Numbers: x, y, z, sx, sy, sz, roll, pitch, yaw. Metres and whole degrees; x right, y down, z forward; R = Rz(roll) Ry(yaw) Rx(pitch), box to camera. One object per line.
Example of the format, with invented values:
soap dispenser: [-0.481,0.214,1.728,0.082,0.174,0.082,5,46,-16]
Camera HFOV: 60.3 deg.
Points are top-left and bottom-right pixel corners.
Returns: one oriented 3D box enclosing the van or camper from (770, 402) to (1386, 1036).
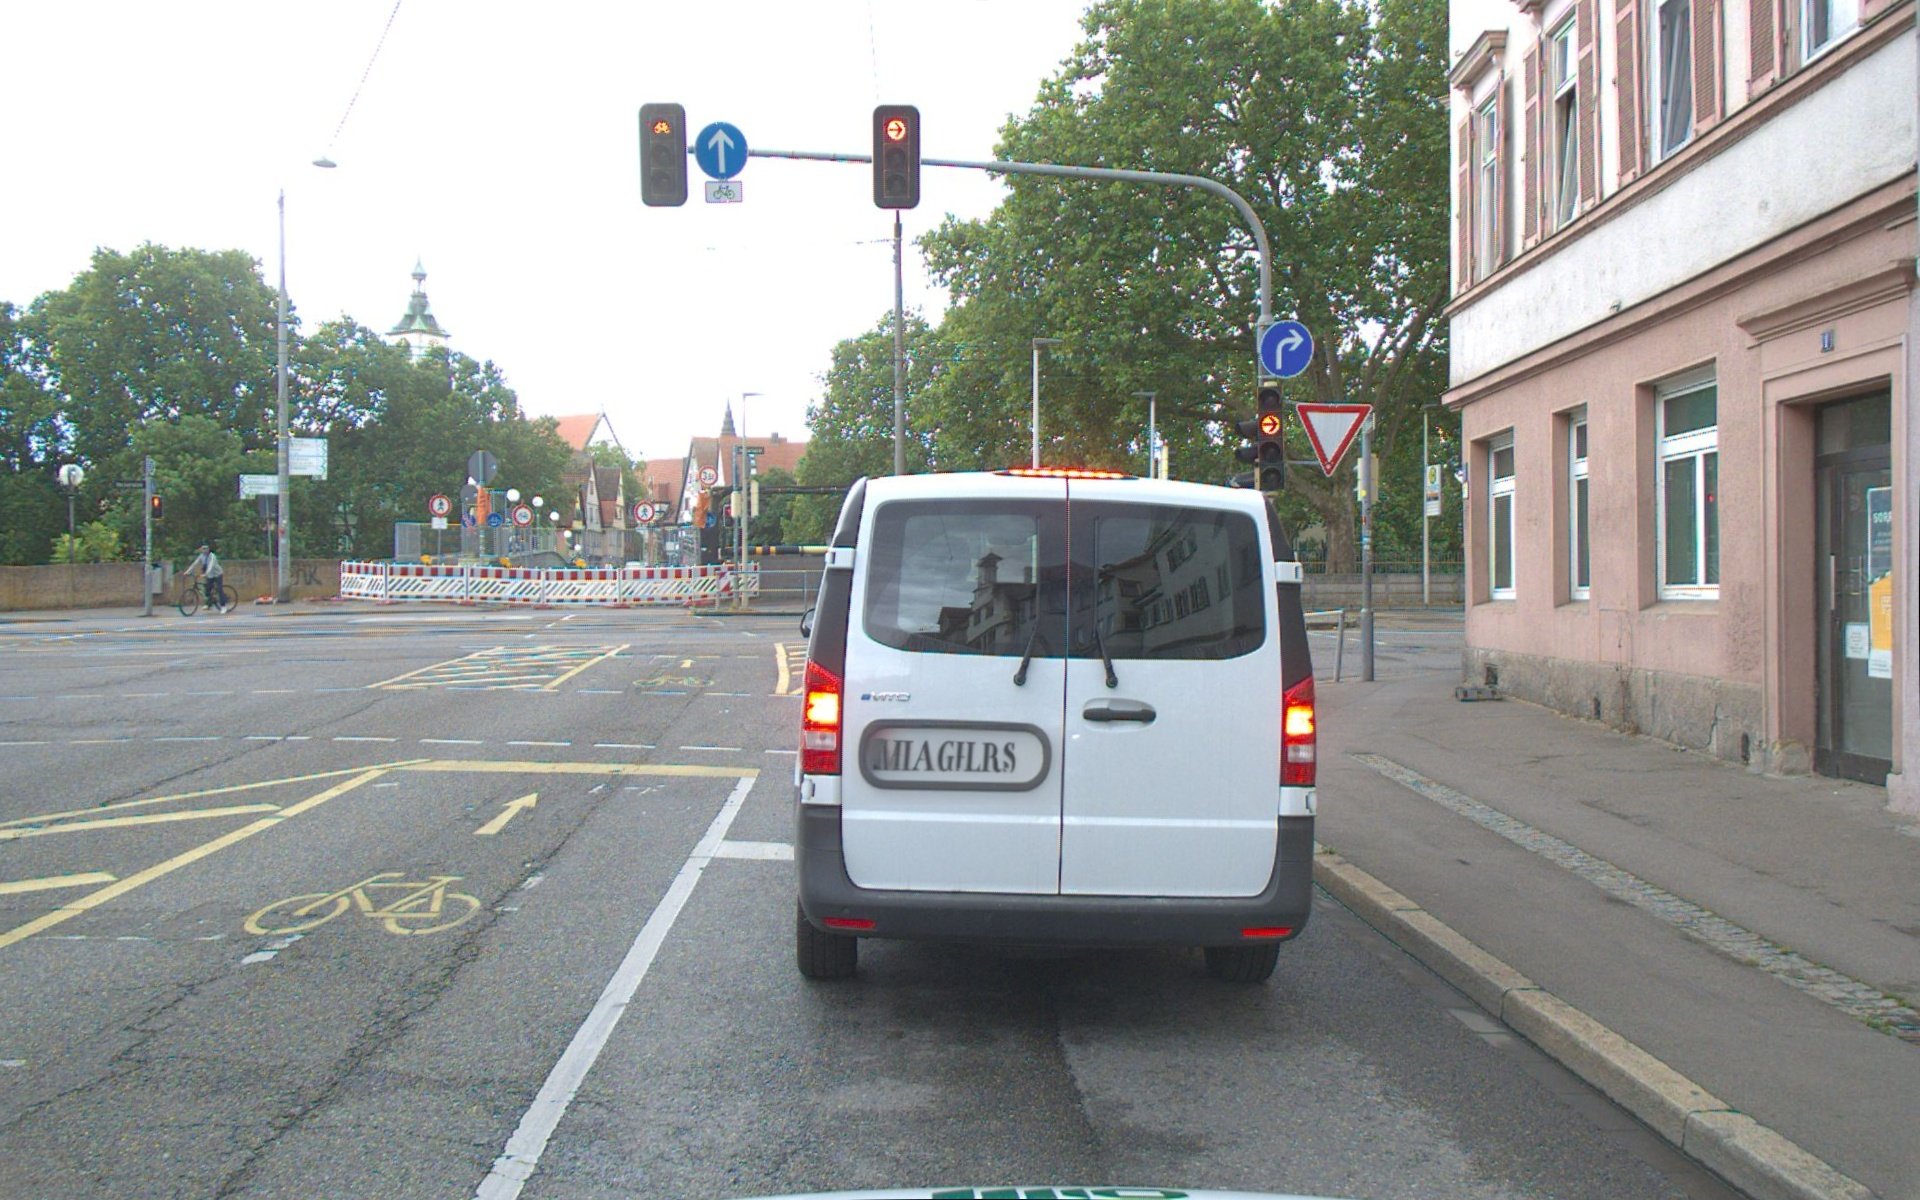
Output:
van or camper: [0.262,0.326,7.397,1.899,1.958,4.439,1,1,-3]

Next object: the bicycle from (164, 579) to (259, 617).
bicycle: [-19.372,-0.072,42.821,2.121,0.907,0.748,-2,3,-43]

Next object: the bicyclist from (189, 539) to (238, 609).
bicyclist: [-19.331,-0.683,42.837,0.997,1.773,0.743,-1,2,-43]
